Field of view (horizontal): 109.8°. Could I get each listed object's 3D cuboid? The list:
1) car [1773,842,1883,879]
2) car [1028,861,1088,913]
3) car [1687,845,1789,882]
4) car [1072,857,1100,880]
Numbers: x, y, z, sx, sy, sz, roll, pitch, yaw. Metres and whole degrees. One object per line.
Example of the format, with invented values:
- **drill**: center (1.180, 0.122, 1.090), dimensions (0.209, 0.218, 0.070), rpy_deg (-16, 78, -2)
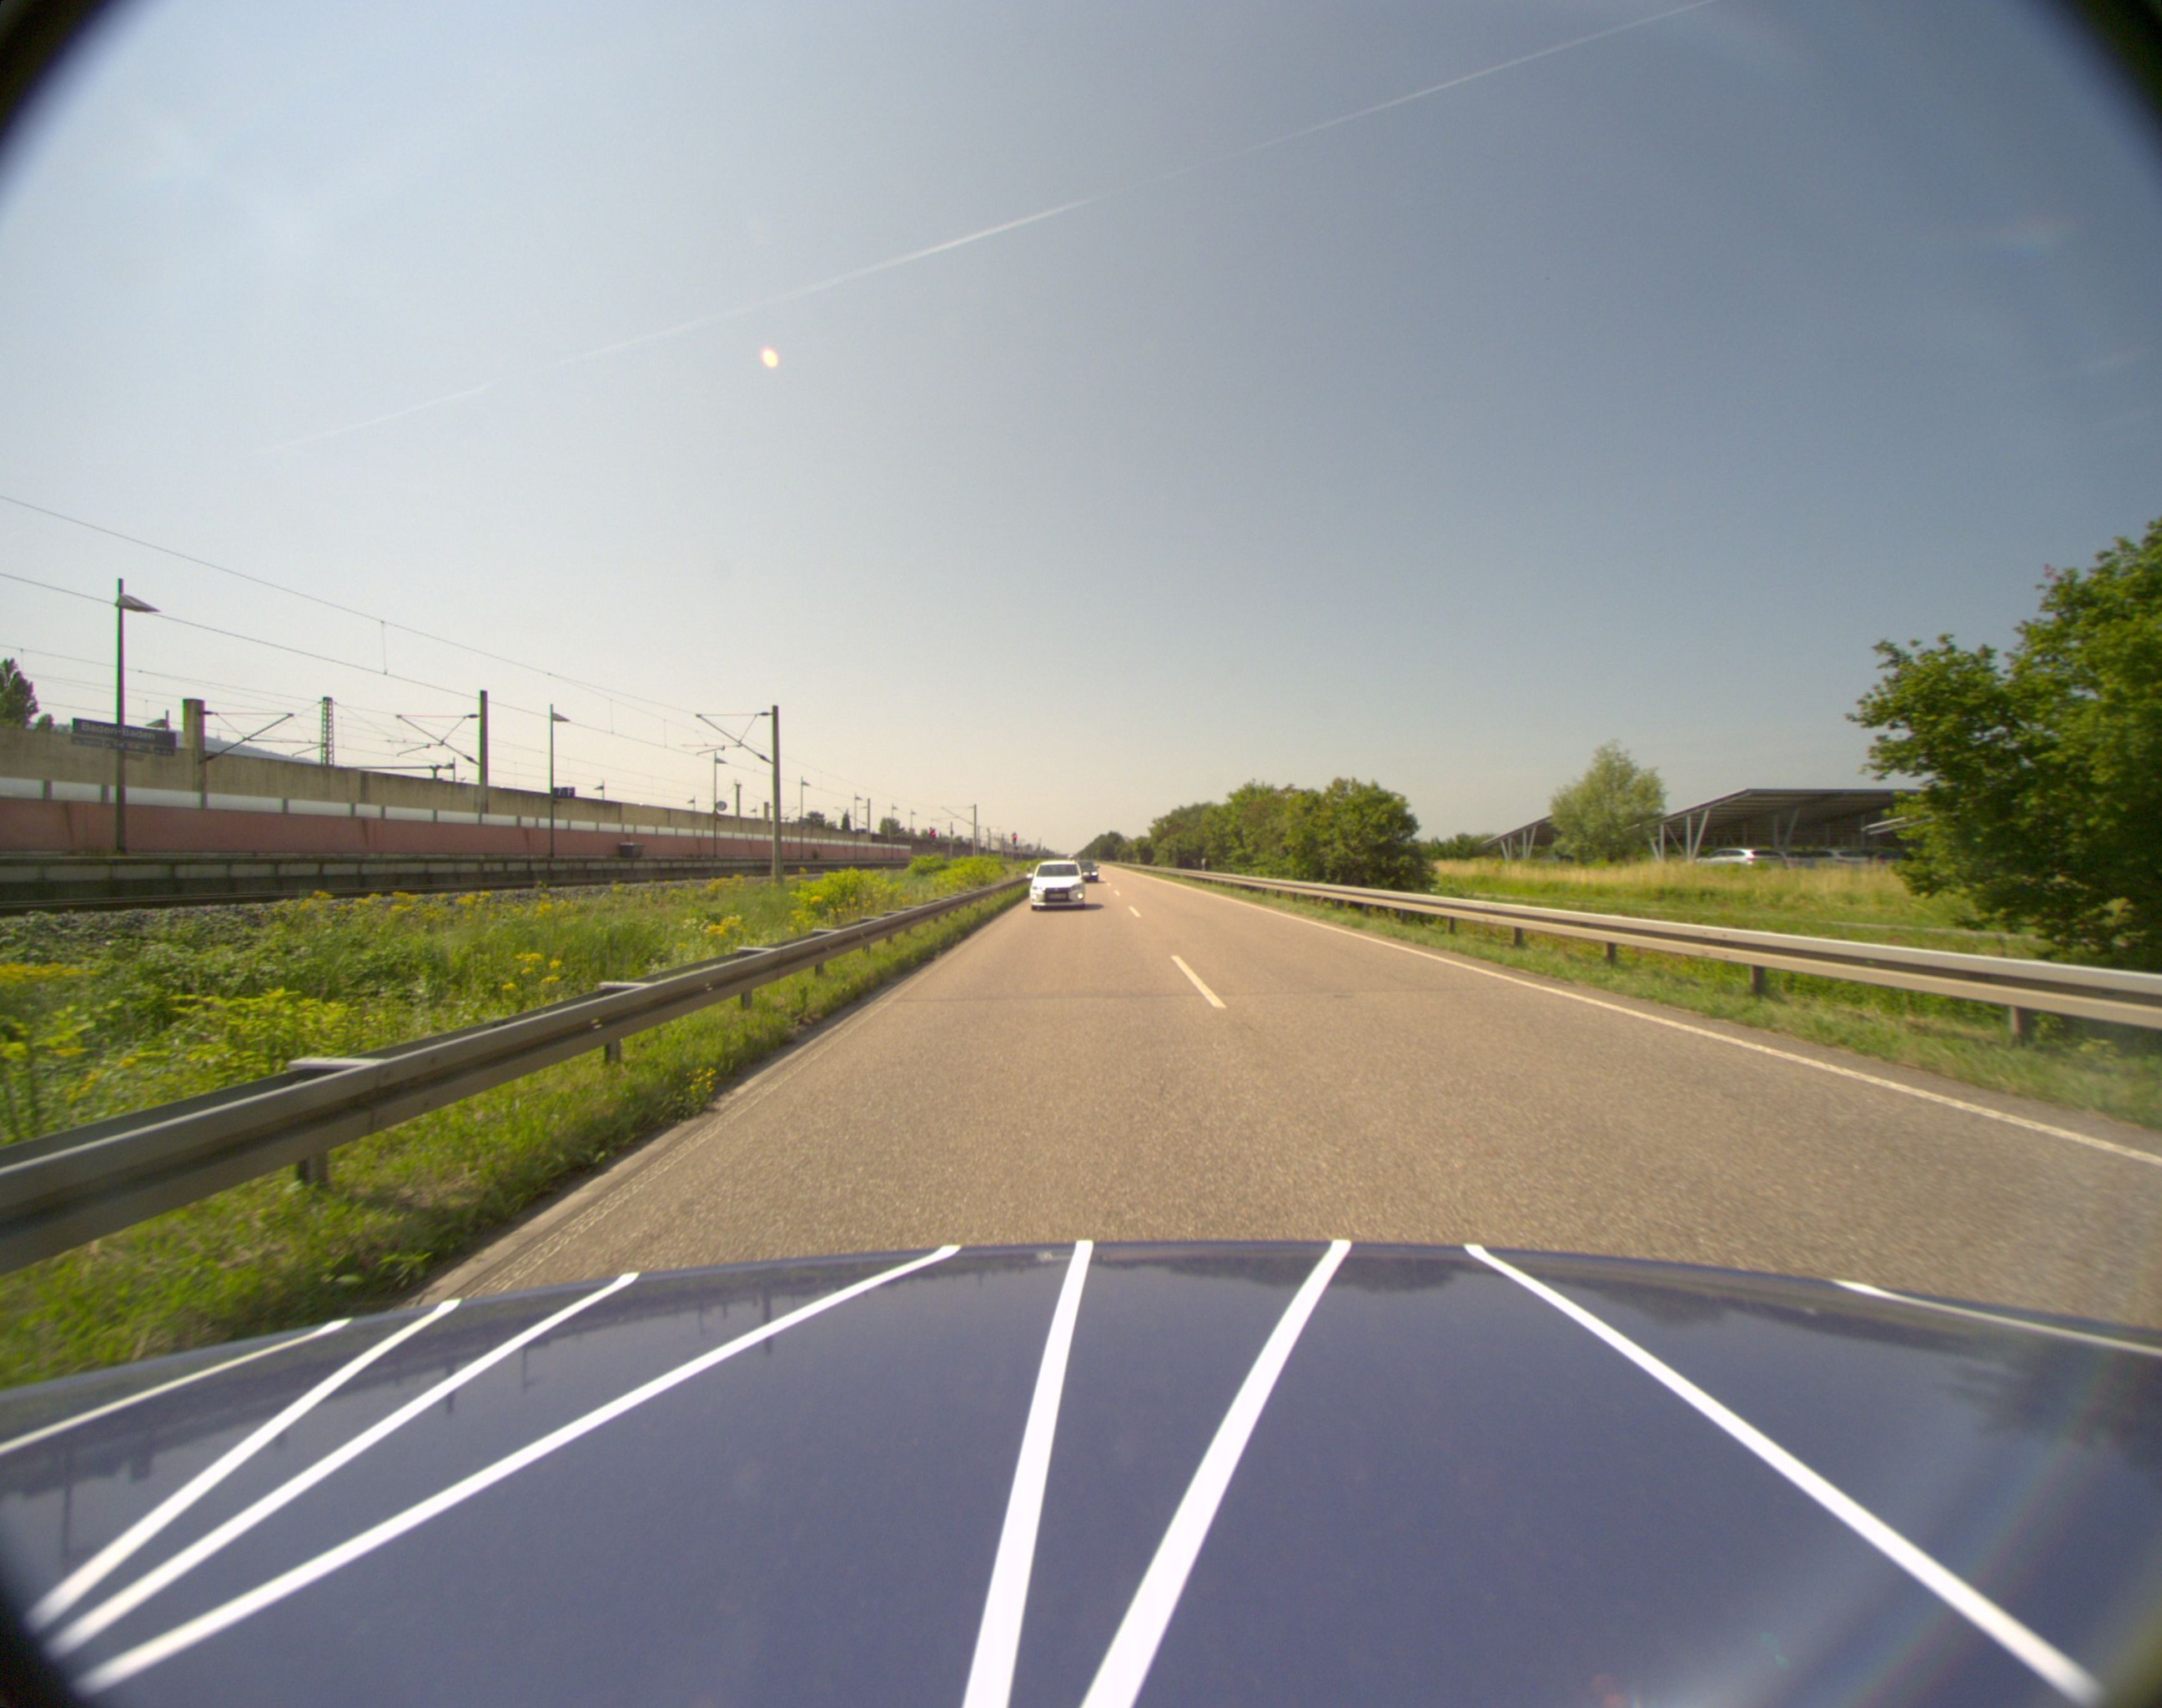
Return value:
- **car**: center (43.051, 0.360, 43.956), dimensions (1.998, 2.002, 4.517), rpy_deg (0, 0, 1)
- **car**: center (-0.728, 0.991, 24.173), dimensions (1.701, 1.470, 4.154), rpy_deg (-1, 0, -2)
- **car**: center (37.563, 0.511, 43.599), dimensions (1.998, 2.002, 4.517), rpy_deg (0, 0, 1)
- **car**: center (0.294, 0.930, 49.905), dimensions (1.711, 1.470, 4.154), rpy_deg (-1, 0, -2)
